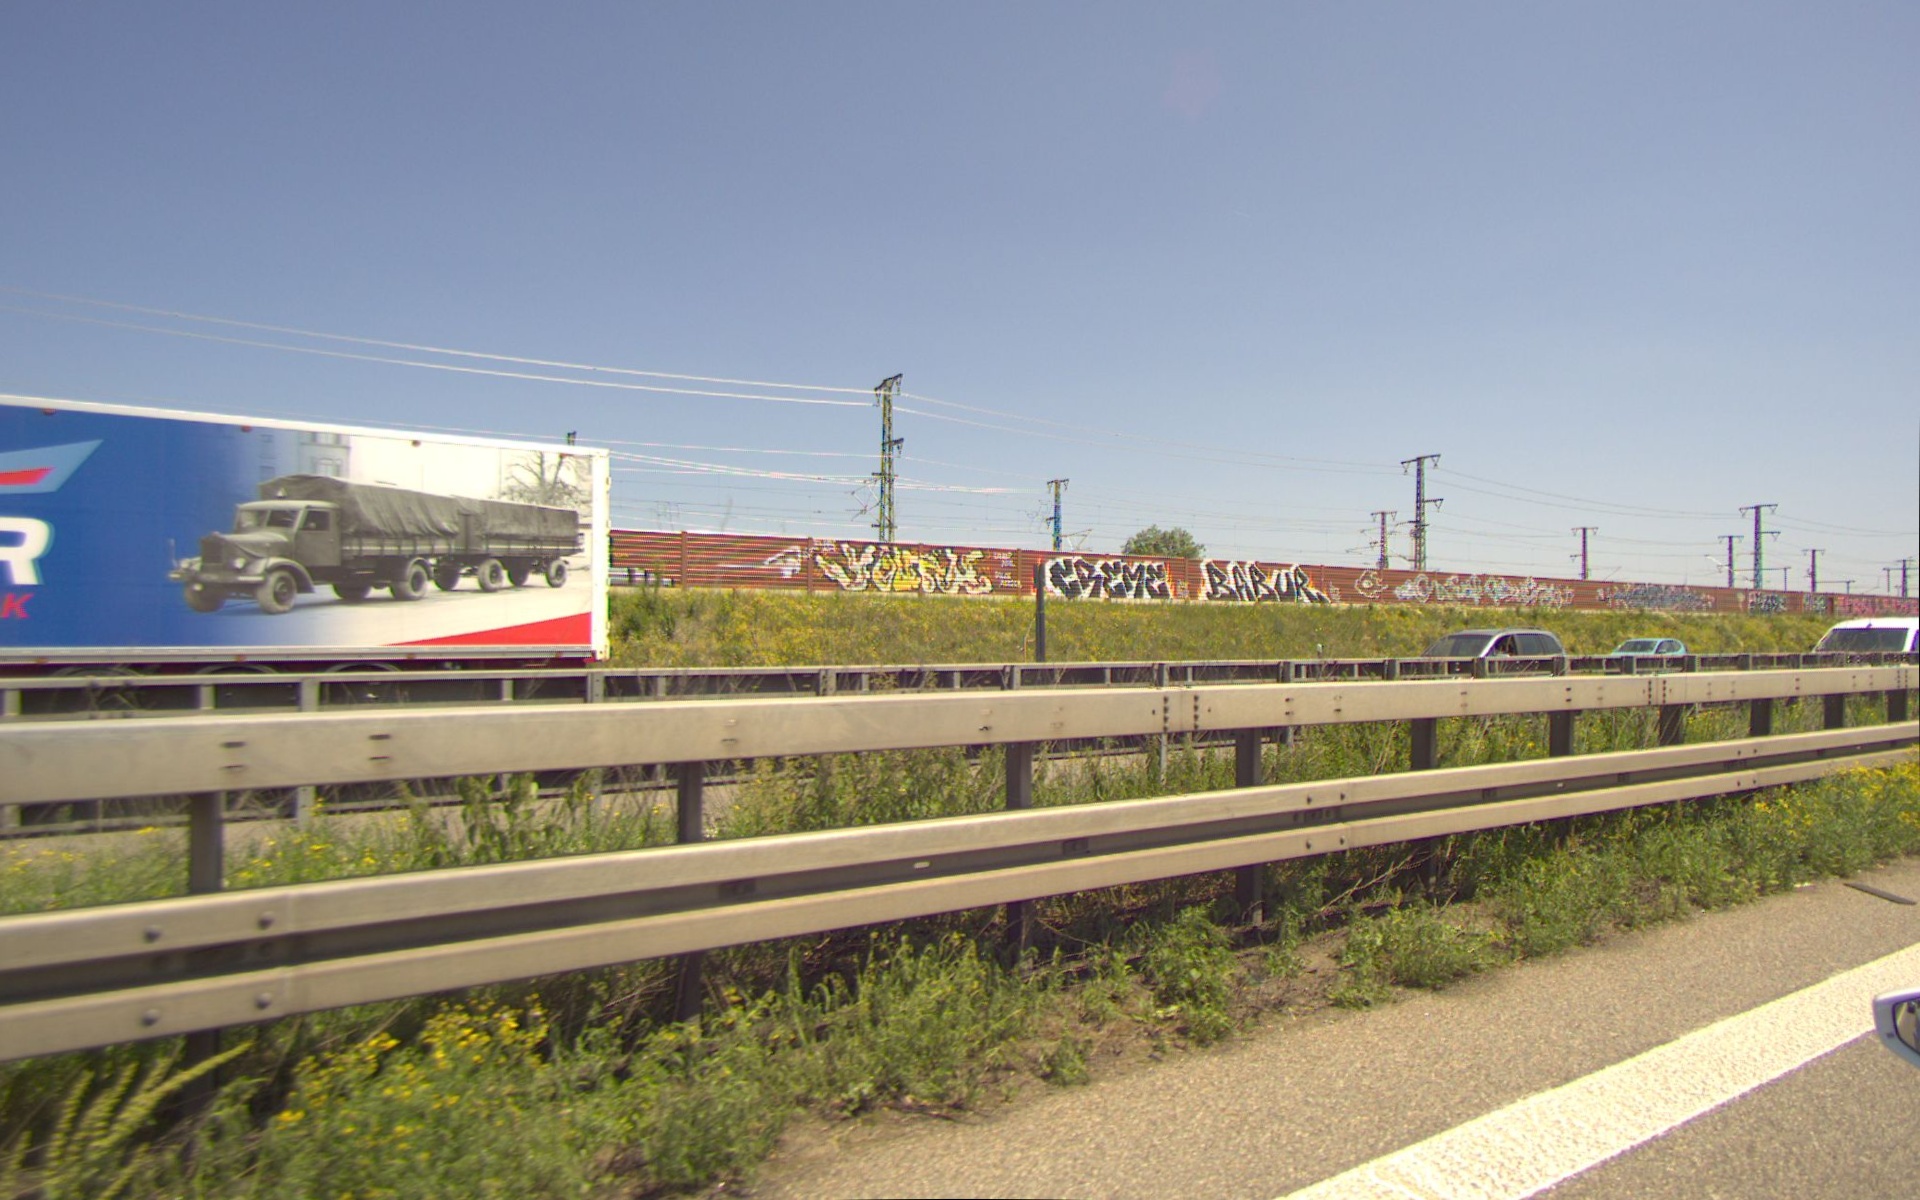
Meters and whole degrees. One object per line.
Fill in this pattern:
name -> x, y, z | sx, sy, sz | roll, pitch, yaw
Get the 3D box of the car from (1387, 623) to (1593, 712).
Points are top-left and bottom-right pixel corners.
car -> 11.147, 1.353, 21.067 | 4.310, 1.669, 1.808 | 1, -1, -30

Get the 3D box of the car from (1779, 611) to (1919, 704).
car -> 19.739, 1.180, 21.629 | 4.484, 1.809, 1.808 | 1, -1, -30

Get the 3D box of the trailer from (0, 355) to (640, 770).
trailer -> -10.405, -0.364, 12.439 | 11.948, 4.466, 2.875 | 1, -2, -30

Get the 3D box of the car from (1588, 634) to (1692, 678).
car -> 25.543, 2.058, 37.716 | 3.790, 1.539, 1.746 | 1, -1, -30
